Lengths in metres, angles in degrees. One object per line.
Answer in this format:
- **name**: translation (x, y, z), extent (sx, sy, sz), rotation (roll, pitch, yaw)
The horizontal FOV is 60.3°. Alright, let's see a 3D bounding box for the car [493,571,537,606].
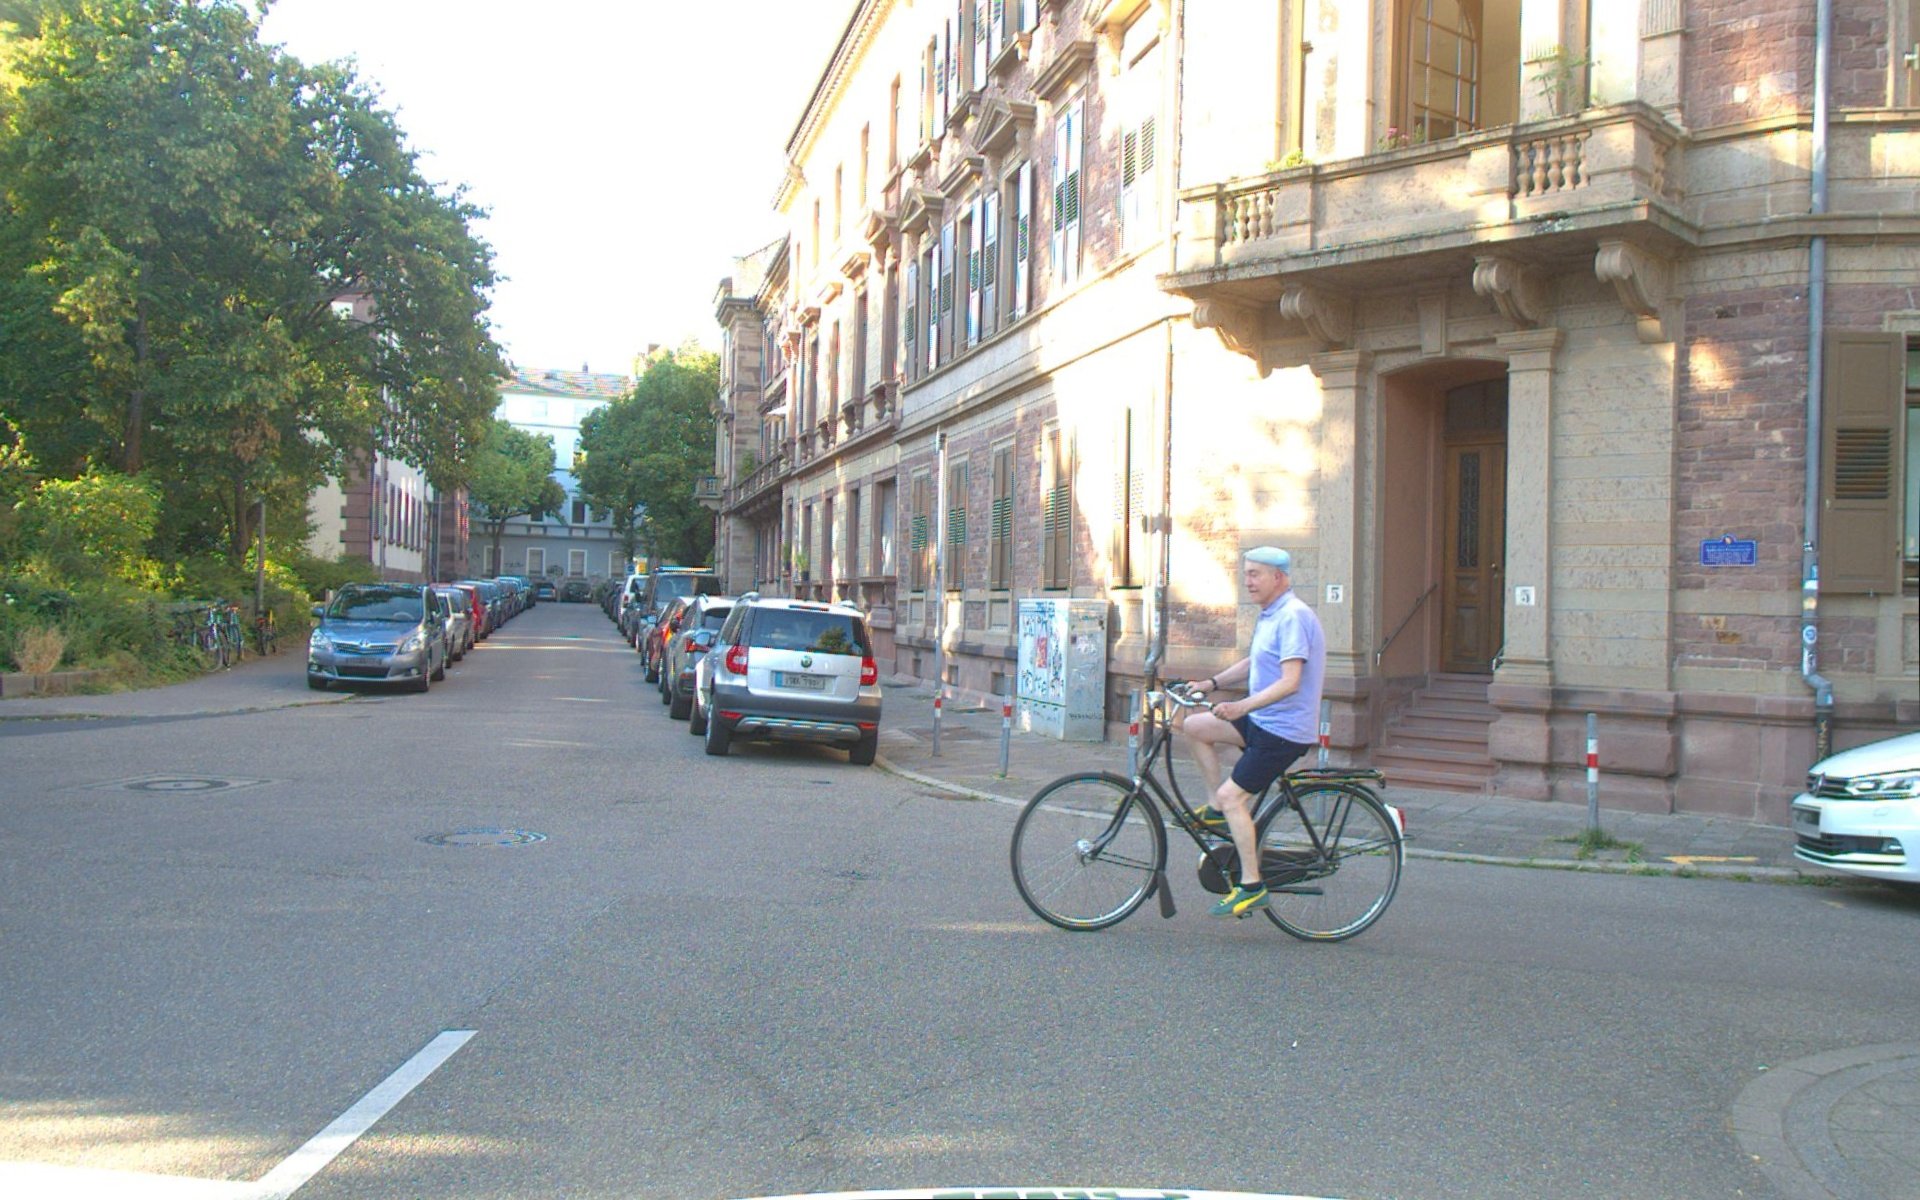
- **car**: translation (-21.859, -0.582, 81.326), extent (1.794, 1.526, 3.919), rotation (5, -1, -12)

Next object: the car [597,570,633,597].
- **car**: translation (-24.183, -1.123, 115.899), extent (1.963, 1.713, 3.978), rotation (3, -2, -18)

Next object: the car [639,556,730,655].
- **car**: translation (-6.557, 0.109, 39.100), extent (1.767, 2.108, 3.942), rotation (4, 0, -13)

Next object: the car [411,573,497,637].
- **car**: translation (-13.650, 0.119, 44.808), extent (1.794, 1.526, 3.919), rotation (5, -1, -12)

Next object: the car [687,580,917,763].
- **car**: translation (-1.889, 0.720, 18.486), extent (1.883, 1.685, 4.172), rotation (5, -1, -13)

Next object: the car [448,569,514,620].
- **car**: translation (-16.233, -0.200, 56.194), extent (1.794, 1.526, 3.919), rotation (5, -1, -12)

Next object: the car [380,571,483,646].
- **car**: translation (-12.232, 0.181, 38.505), extent (1.794, 1.503, 3.919), rotation (5, -1, -12)

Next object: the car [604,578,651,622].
- **car**: translation (-14.451, -0.015, 71.766), extent (1.767, 1.757, 3.942), rotation (4, 0, -13)

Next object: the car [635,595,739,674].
- **car**: translation (-5.578, 0.655, 33.452), extent (1.767, 1.368, 3.942), rotation (4, 0, -13)

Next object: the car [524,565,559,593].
- **car**: translation (-28.800, -1.404, 113.772), extent (1.963, 1.713, 3.978), rotation (3, -2, -18)

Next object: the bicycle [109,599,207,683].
- **bicycle**: translation (-11.604, 0.563, 24.004), extent (0.586, 1.120, 2.620), rotation (2, 0, -11)

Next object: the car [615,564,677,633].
- **car**: translation (-10.576, -0.052, 55.608), extent (1.767, 2.108, 3.942), rotation (4, 0, -13)

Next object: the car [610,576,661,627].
- **car**: translation (-13.093, 0.026, 66.630), extent (1.767, 1.870, 3.942), rotation (4, 0, -13)

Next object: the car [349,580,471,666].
- **car**: translation (-10.935, 0.421, 33.108), extent (1.794, 1.472, 3.919), rotation (5, -1, -12)

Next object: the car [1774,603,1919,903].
- **car**: translation (7.472, 0.973, 9.834), extent (4.388, 1.678, 1.876), rotation (2, -2, 13)

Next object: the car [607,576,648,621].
- **car**: translation (-16.308, -0.092, 81.038), extent (1.767, 2.052, 3.942), rotation (4, 0, -13)

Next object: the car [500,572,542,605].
- **car**: translation (-22.887, -0.596, 86.308), extent (1.794, 1.526, 3.919), rotation (5, -1, -12)

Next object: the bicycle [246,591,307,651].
- **bicycle**: translation (-13.604, 0.397, 32.990), extent (0.586, 1.120, 2.620), rotation (2, 0, -11)

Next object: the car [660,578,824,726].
- **car**: translation (-3.185, 0.652, 23.427), extent (1.794, 1.753, 4.529), rotation (5, -1, -12)

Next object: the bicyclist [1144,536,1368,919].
- **bicyclist**: translation (1.307, 0.546, 7.439), extent (0.853, 1.616, 0.701), rotation (2, 0, 1)

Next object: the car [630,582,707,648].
- **car**: translation (-7.897, 0.370, 44.564), extent (1.767, 1.550, 3.942), rotation (4, 0, -13)

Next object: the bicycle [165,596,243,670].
- **bicycle**: translation (-12.151, 0.504, 26.660), extent (0.586, 1.120, 2.619), rotation (2, 0, -13)

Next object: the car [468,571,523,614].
- **car**: translation (-18.601, -0.321, 66.388), extent (1.794, 1.526, 3.919), rotation (5, -1, -12)

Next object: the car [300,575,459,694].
- **car**: translation (-9.283, 0.501, 26.767), extent (1.794, 1.643, 4.278), rotation (5, -1, -12)

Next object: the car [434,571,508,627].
- **car**: translation (-15.055, -0.045, 51.123), extent (1.794, 1.526, 3.919), rotation (5, -1, -12)

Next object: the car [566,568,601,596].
- **car**: translation (-26.171, -1.243, 114.897), extent (1.963, 1.713, 3.978), rotation (3, -2, -18)

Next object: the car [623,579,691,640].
- **car**: translation (-9.210, 0.260, 50.081), extent (1.767, 1.651, 3.942), rotation (4, 0, -13)

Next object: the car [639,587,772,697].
- **car**: translation (-4.486, 0.668, 28.729), extent (1.768, 1.642, 3.939), rotation (4, 0, -15)

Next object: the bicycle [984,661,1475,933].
- **bicycle**: translation (1.162, 0.855, 7.437), extent (2.073, 1.073, 0.701), rotation (2, 0, 1)
